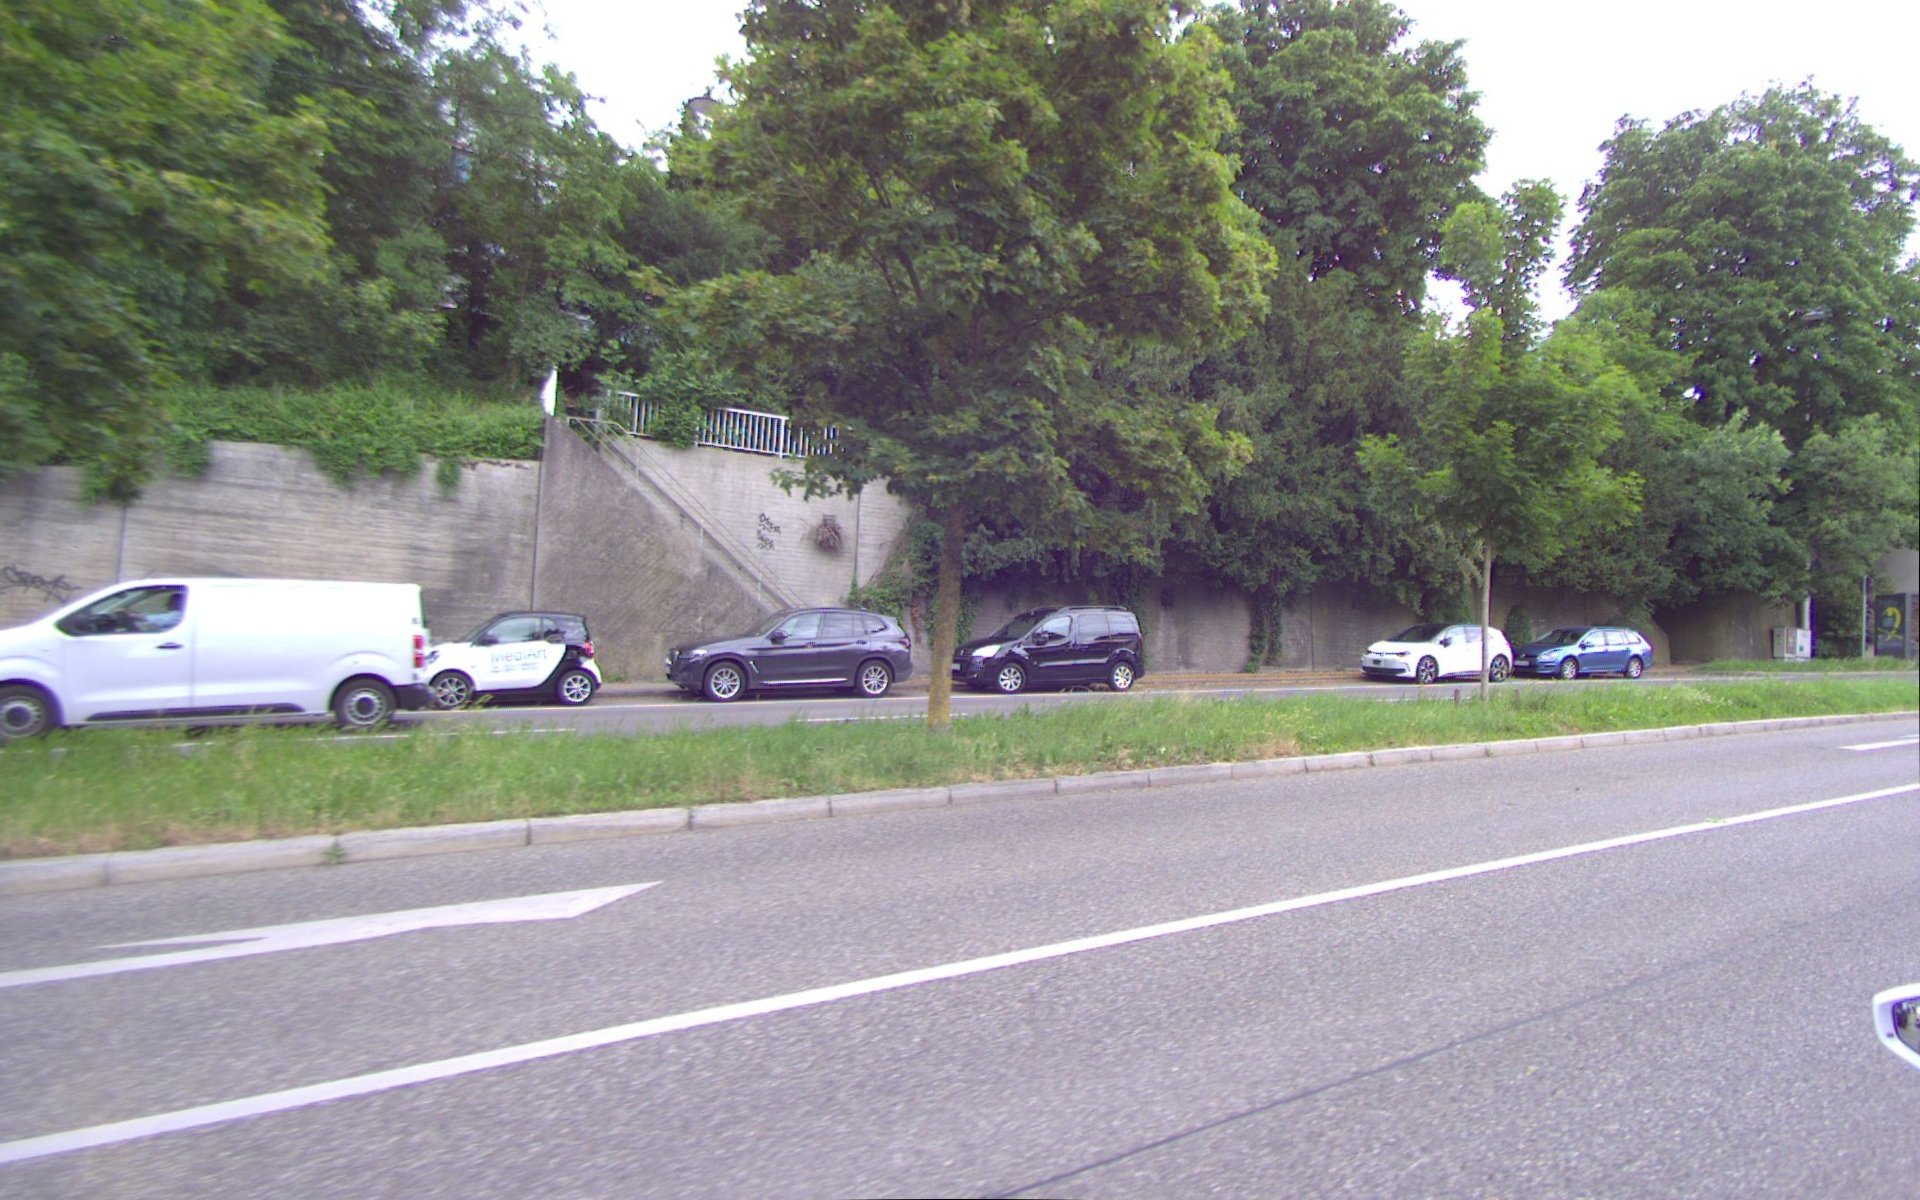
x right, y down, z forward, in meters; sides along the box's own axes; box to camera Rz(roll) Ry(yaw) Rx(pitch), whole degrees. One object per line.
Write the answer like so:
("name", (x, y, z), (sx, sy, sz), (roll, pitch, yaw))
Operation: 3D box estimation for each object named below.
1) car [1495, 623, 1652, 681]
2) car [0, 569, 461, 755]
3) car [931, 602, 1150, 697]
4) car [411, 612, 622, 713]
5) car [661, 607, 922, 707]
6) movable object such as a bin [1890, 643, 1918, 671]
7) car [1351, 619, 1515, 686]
("car", (17.760, 1.458, 29.062), (4.238, 1.549, 1.709), (1, 0, -22))
("car", (-9.054, 0.697, 12.546), (4.961, 1.984, 1.930), (1, 0, -30))
("car", (1.756, 0.997, 21.592), (4.430, 1.867, 1.773), (1, 0, -27))
("car", (-7.443, 0.977, 16.848), (3.062, 1.518, 1.771), (1, 0, -31))
("car", (-3.167, 1.023, 18.921), (4.472, 1.679, 1.963), (1, 0, -26))
("movable object such as a bin", (36.484, 2.213, 38.836), (0.636, 1.032, 0.538), (3, -2, -16))
("car", (12.657, 1.349, 26.880), (4.114, 1.650, 1.774), (1, 0, -26))
